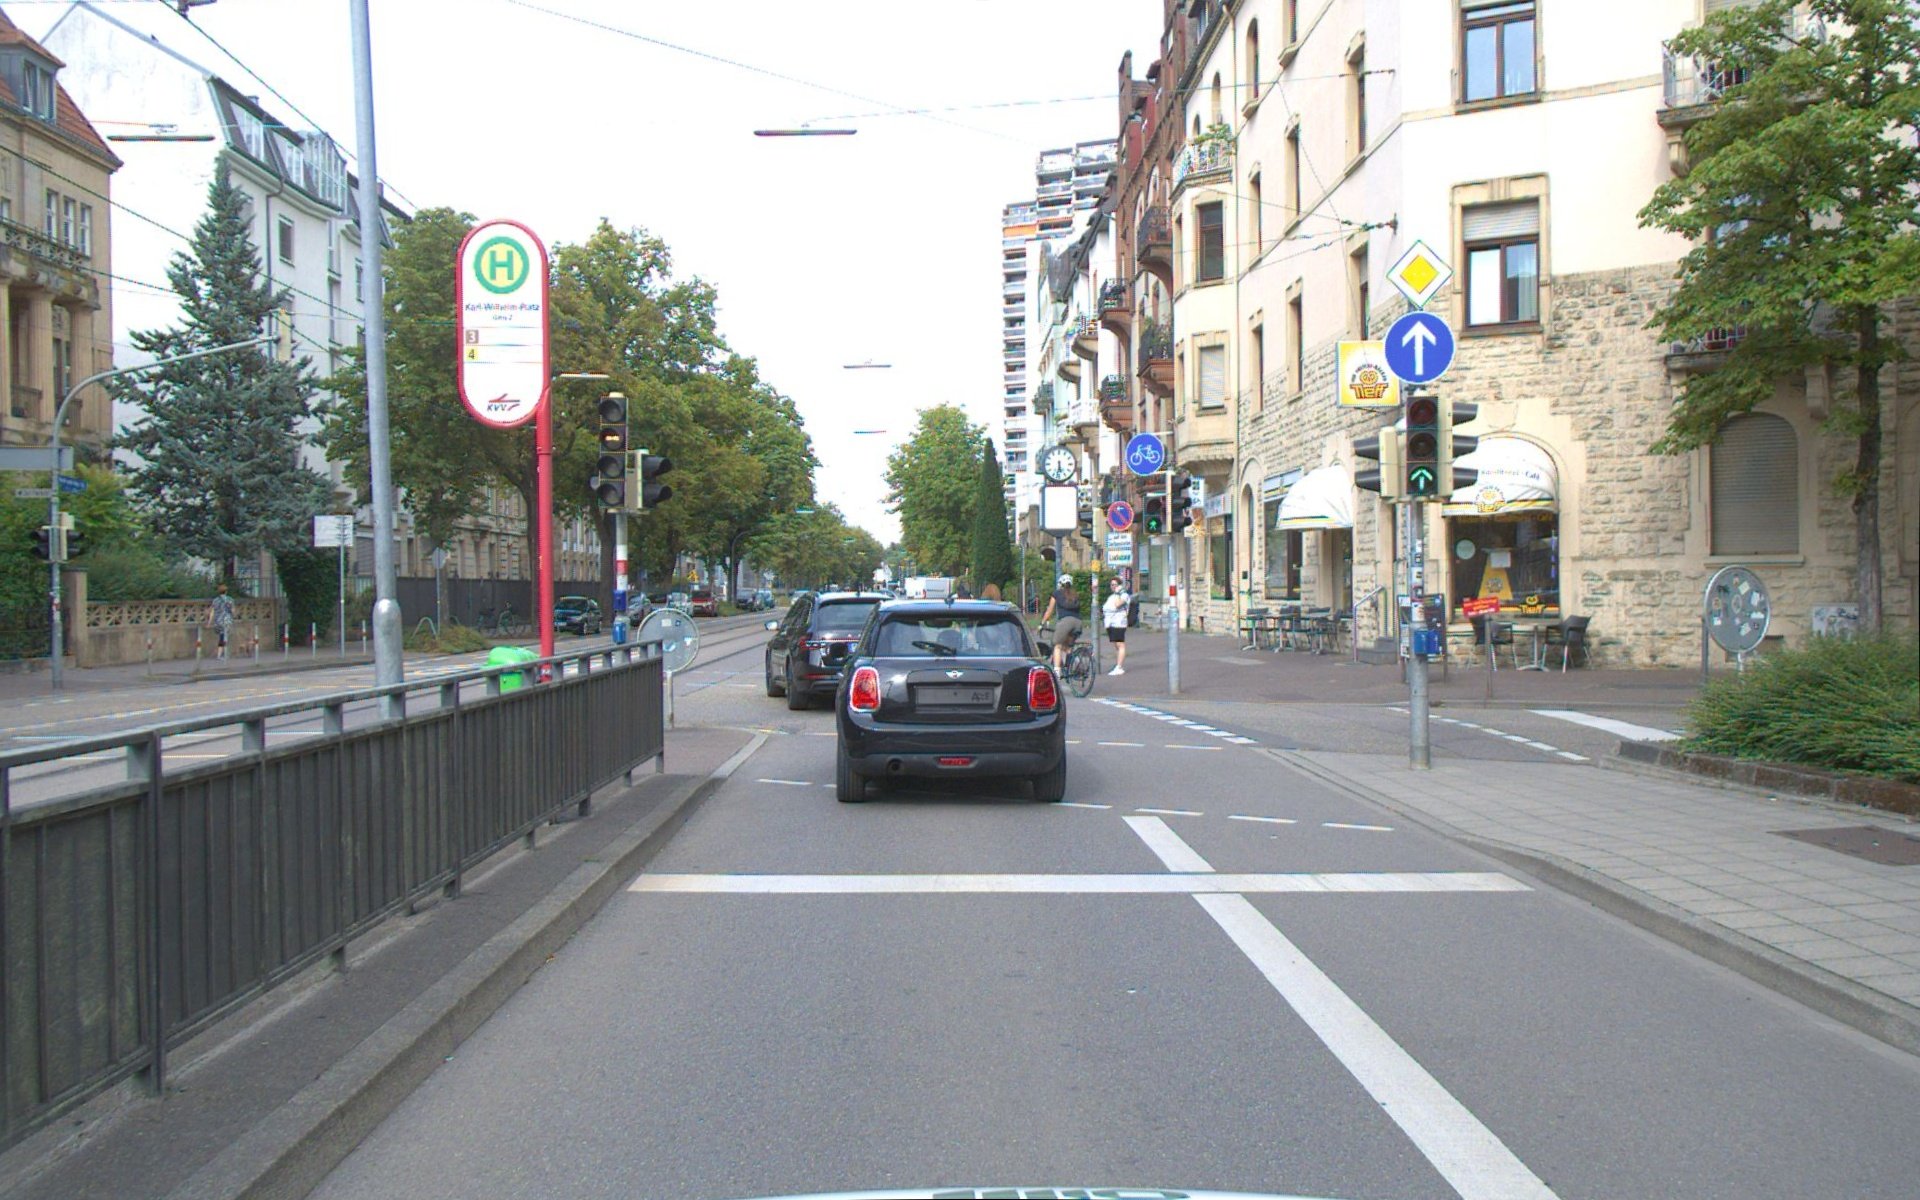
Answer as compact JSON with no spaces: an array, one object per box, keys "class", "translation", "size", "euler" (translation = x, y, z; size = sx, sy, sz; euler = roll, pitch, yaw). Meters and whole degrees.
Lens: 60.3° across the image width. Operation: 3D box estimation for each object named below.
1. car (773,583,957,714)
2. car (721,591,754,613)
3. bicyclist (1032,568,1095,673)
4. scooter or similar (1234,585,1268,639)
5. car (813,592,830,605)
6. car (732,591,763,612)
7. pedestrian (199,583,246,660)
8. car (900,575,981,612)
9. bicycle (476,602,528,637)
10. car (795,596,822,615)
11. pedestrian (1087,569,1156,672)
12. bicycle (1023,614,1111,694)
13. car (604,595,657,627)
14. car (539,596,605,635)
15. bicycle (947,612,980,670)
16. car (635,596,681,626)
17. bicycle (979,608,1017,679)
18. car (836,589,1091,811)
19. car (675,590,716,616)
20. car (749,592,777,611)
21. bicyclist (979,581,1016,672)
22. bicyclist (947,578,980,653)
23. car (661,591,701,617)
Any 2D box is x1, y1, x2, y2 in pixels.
[{"class":"car","translation":[-1.360,0.580,22.007],"size":[1.893,1.536,3.989],"euler":[-1,0,-11]},{"class":"car","translation":[-16.943,0.128,126.077],"size":[1.953,1.579,3.999],"euler":[-1,0,-1]},{"class":"bicyclist","translation":[1.521,0.288,24.400],"size":[0.606,1.498,0.910],"euler":[-1,0,-20]},{"class":"scooter or similar","translation":[6.638,0.267,37.774],"size":[0.498,1.209,1.261],"euler":[-1,0,-1]},{"class":"car","translation":[-18.326,-0.224,218.902],"size":[1.953,1.579,3.999],"euler":[-1,0,-1]},{"class":"car","translation":[-16.997,0.115,132.275],"size":[1.953,1.579,3.999],"euler":[-1,0,-1]},{"class":"pedestrian","translation":[-17.666,0.508,39.636],"size":[0.715,1.815,0.835],"euler":[-1,0,-1]},{"class":"car","translation":[-1.267,-0.438,109.015],"size":[4.996,2.312,2.360],"euler":[-1,0,-42]},{"class":"bicycle","translation":[-15.751,0.678,56.911],"size":[1.657,1.138,0.564],"euler":[-2,1,-41]},{"class":"car","translation":[-11.474,0.412,125.322],"size":[1.731,1.419,3.999],"euler":[-1,0,-2]},{"class":"pedestrian","translation":[2.811,0.352,28.775],"size":[0.829,1.703,0.720],"euler":[-5,1,-45]},{"class":"bicycle","translation":[1.558,0.769,24.301],"size":[0.606,1.095,1.810],"euler":[-1,1,-20]},{"class":"car","translation":[-15.199,0.481,76.422],"size":[1.731,1.419,3.999],"euler":[-1,0,-2]},{"class":"car","translation":[-15.055,0.570,64.399],"size":[1.731,1.419,3.999],"euler":[-1,0,-2]},{"class":"bicycle","translation":[0.095,0.882,36.025],"size":[0.670,1.190,1.697],"euler":[-1,1,1]},{"class":"car","translation":[-15.327,0.534,84.093],"size":[1.731,1.419,3.999],"euler":[-1,0,-2]},{"class":"bicycle","translation":[0.661,0.755,29.447],"size":[0.586,1.190,1.696],"euler":[-1,1,-1]},{"class":"car","translation":[-0.120,0.666,13.253],"size":[1.717,1.466,3.996],"euler":[-1,0,-4]},{"class":"car","translation":[-16.460,0.181,103.116],"size":[1.953,1.579,3.999],"euler":[-1,0,-1]},{"class":"car","translation":[-16.925,0.082,142.312],"size":[1.953,1.579,3.999],"euler":[-1,0,-1]},{"class":"bicyclist","translation":[0.658,0.464,29.442],"size":[0.582,1.577,1.013],"euler":[-1,0,-1]},{"class":"bicyclist","translation":[0.081,0.325,36.029],"size":[0.670,1.591,0.998],"euler":[-1,0,1]},{"class":"car","translation":[-15.946,0.199,94.727],"size":[1.731,1.419,3.999],"euler":[-1,0,-2]}]
